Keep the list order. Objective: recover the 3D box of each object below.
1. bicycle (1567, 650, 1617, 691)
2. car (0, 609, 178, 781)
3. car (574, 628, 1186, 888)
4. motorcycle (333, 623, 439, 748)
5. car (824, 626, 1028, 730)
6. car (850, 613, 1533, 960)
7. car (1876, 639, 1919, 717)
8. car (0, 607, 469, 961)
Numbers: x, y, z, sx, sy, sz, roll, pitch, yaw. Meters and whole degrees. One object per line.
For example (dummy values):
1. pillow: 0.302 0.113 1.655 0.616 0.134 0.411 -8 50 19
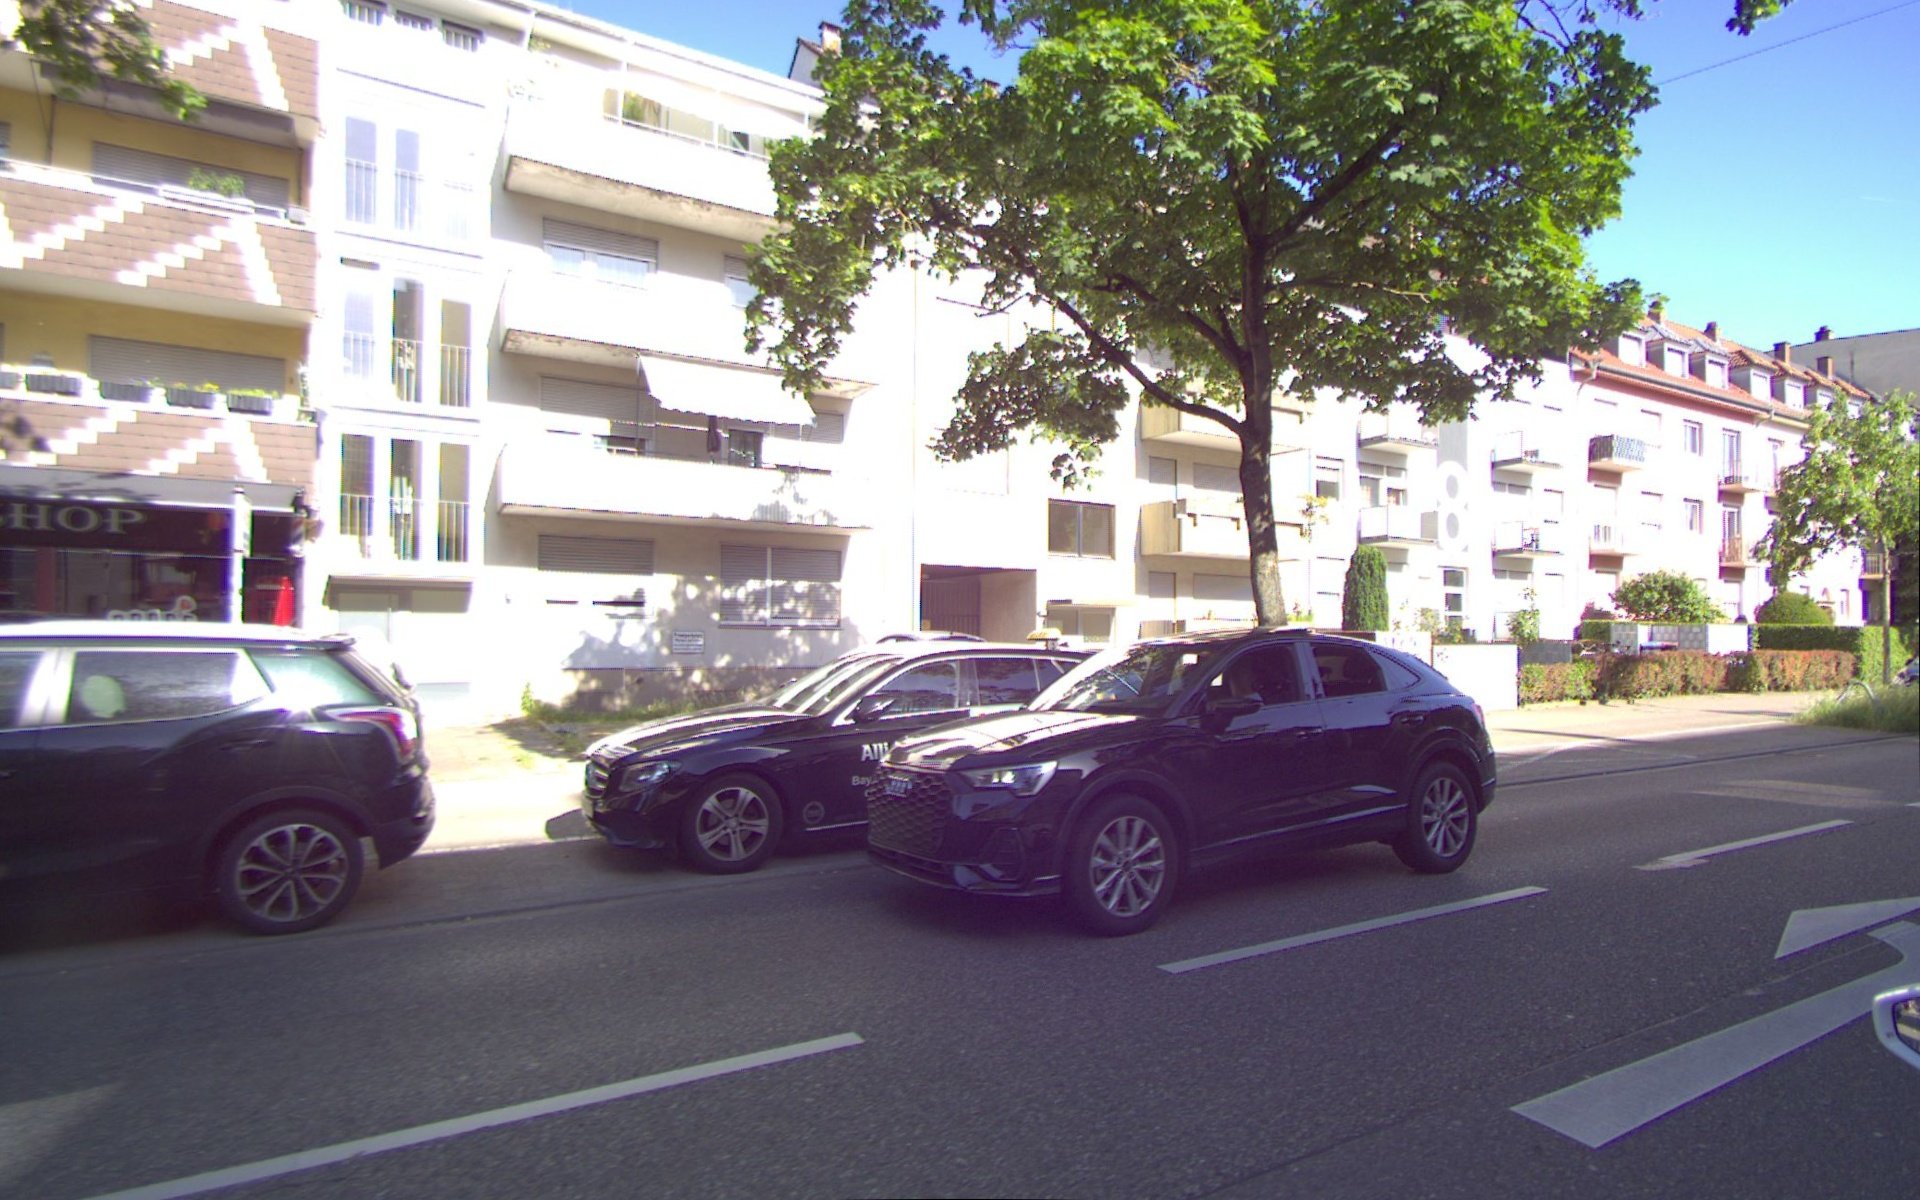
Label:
1. bicycle: 15.950 1.777 25.345 1.530 0.995 0.397 1 -2 -30
2. car: -9.722 0.835 10.189 1.707 1.480 3.981 1 -1 -21
3. car: -0.509 1.038 8.064 4.625 1.556 1.714 1 -1 -31
4. motorcycle: -7.560 1.062 13.330 0.769 1.506 2.149 0 -1 -18
5. car: -0.712 1.227 17.213 1.859 1.506 3.968 1 -1 -30
6. car: 1.605 0.962 6.489 4.292 1.586 1.711 1 -5 -31
7. car: 21.071 1.583 20.926 4.442 1.513 1.776 1 -2 -32
8. car: -4.921 0.847 5.276 4.088 1.617 1.714 1 -1 -30
